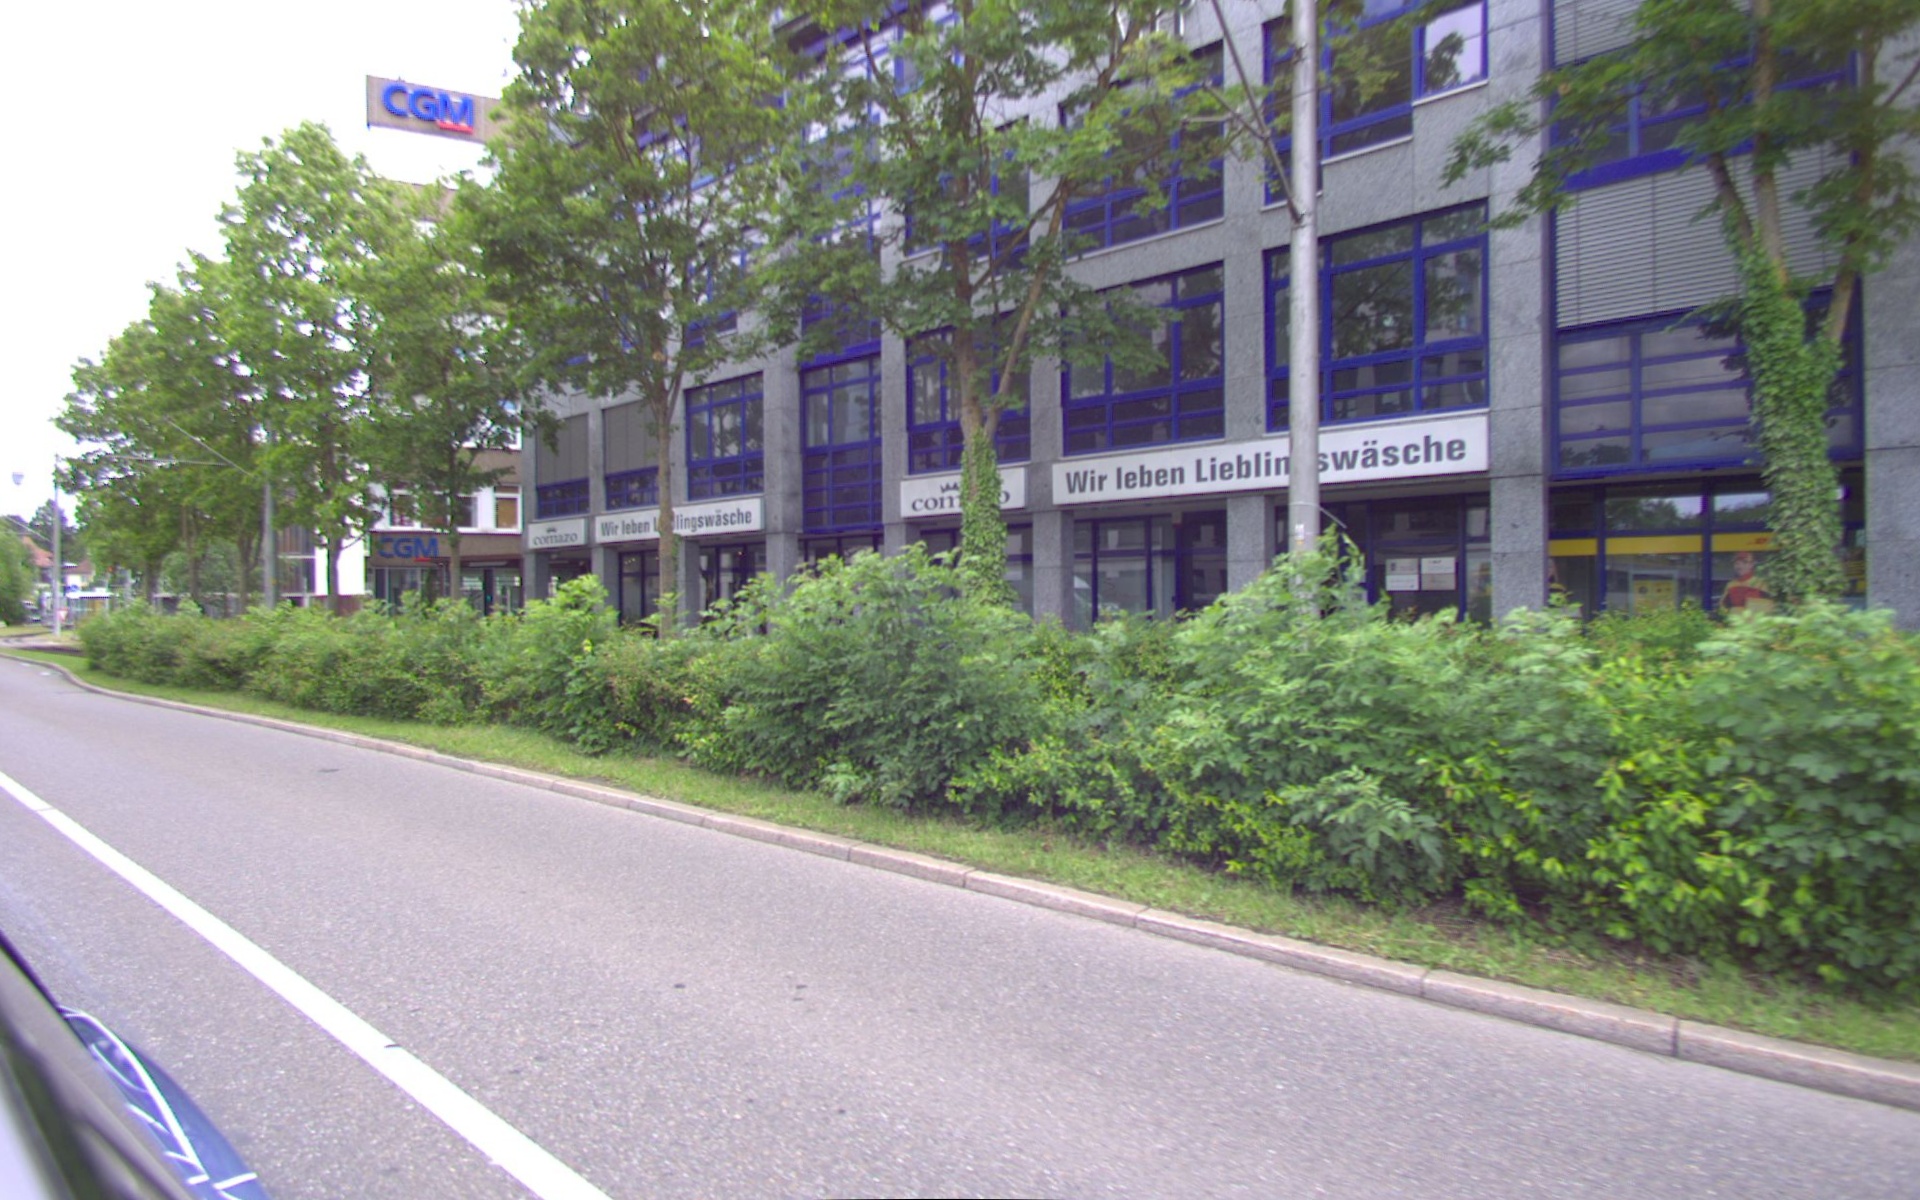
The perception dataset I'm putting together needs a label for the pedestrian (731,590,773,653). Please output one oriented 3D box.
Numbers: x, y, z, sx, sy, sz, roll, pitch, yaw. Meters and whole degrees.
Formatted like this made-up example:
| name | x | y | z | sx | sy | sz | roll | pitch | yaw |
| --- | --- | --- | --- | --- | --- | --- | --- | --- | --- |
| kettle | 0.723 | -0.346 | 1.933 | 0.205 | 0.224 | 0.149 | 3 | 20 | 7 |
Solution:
| name | x | y | z | sx | sy | sz | roll | pitch | yaw |
| --- | --- | --- | --- | --- | --- | --- | --- | --- | --- |
| pedestrian | -5.072 | 0.522 | 24.734 | 0.678 | 1.493 | 0.690 | -1 | 1 | 40 |
